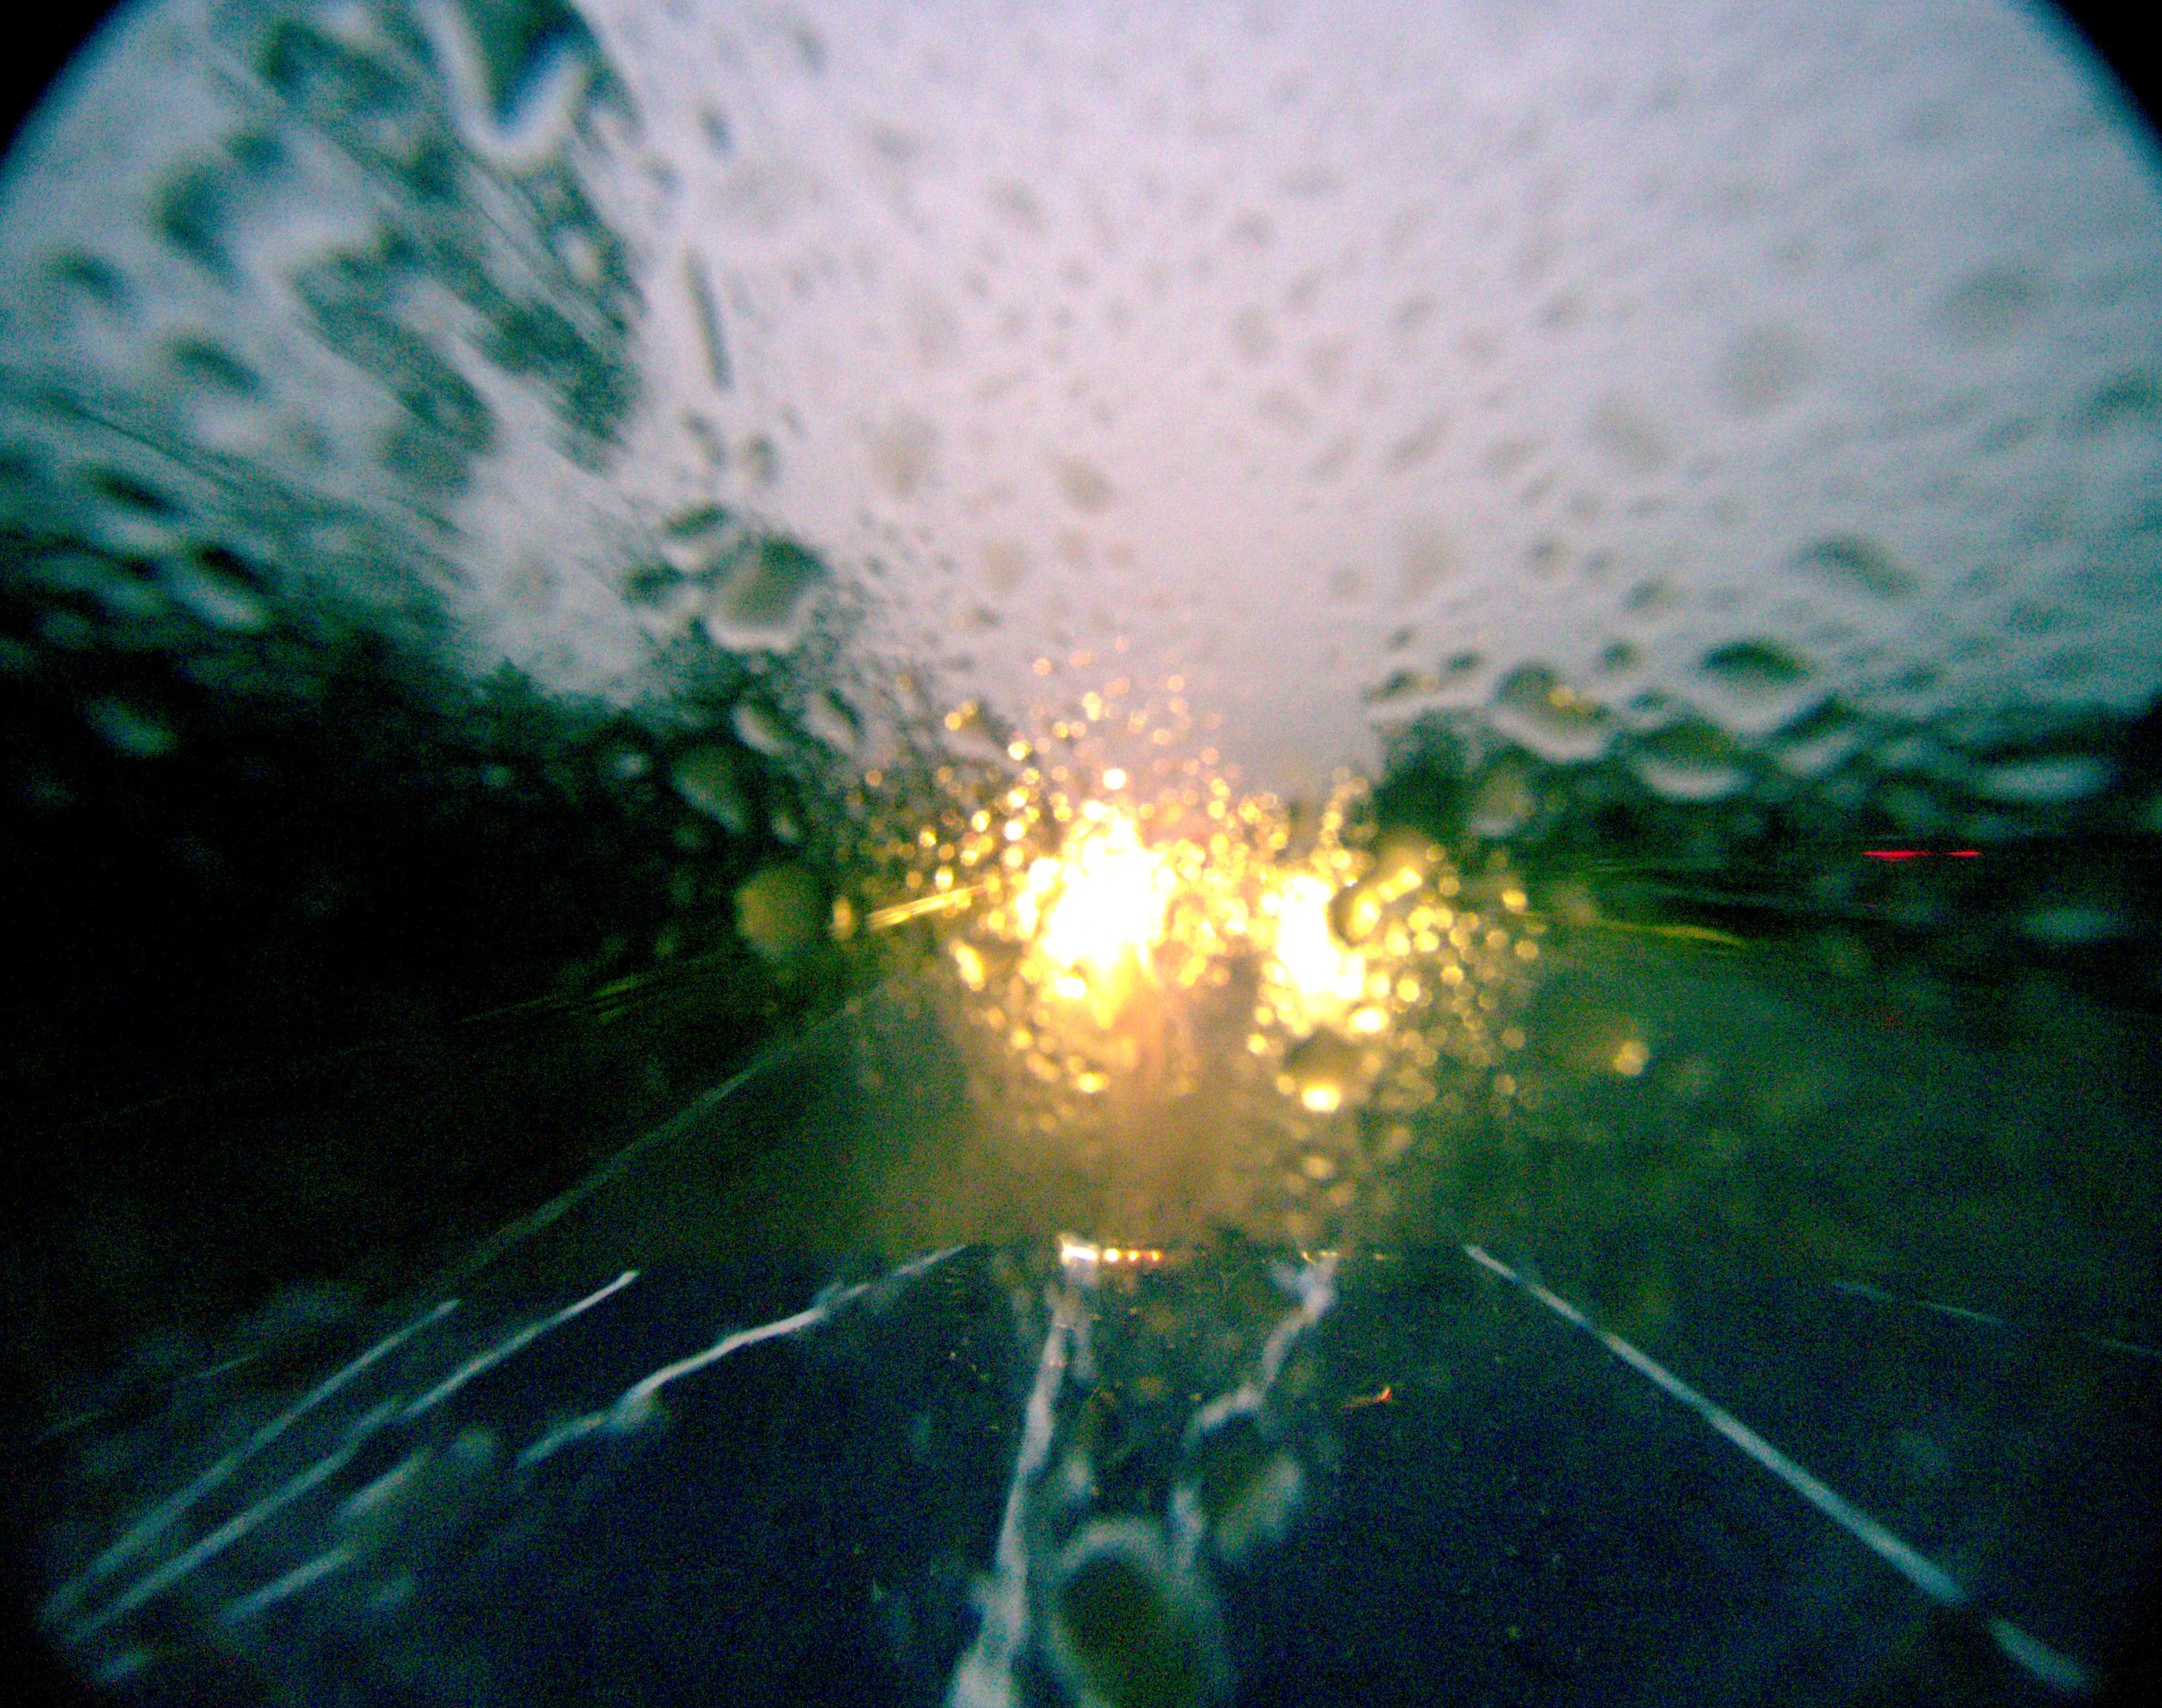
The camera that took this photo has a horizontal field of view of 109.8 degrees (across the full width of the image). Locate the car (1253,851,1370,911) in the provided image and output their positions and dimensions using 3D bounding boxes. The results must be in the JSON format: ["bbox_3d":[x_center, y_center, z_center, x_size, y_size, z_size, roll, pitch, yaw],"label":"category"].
[{"bbox_3d":[6.572,0.717,22.211,1.803,1.459,4.412,-3,0,-3],"label":"car"}]

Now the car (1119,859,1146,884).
[{"bbox_3d":[3.663,1.257,53.287,1.653,1.501,3.879,3,-3,6],"label":"car"}]

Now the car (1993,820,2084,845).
[{"bbox_3d":[66.095,-1.443,52.490,3.997,1.478,1.749,-3,1,1],"label":"car"}]

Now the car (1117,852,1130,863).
[{"bbox_3d":[5.116,0.397,92.023,1.482,1.198,3.349,-3,0,3],"label":"car"}]

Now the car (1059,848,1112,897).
[{"bbox_3d":[0.253,0.760,33.168,1.998,2.002,3.965,-1,0,4],"label":"car"}]

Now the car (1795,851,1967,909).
[{"bbox_3d":[24.666,0.734,23.681,1.745,1.478,4.434,-4,0,18],"label":"car"}]

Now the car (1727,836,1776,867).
[{"bbox_3d":[37.179,-0.163,42.181,1.744,1.478,4.007,-3,1,38],"label":"car"}]
